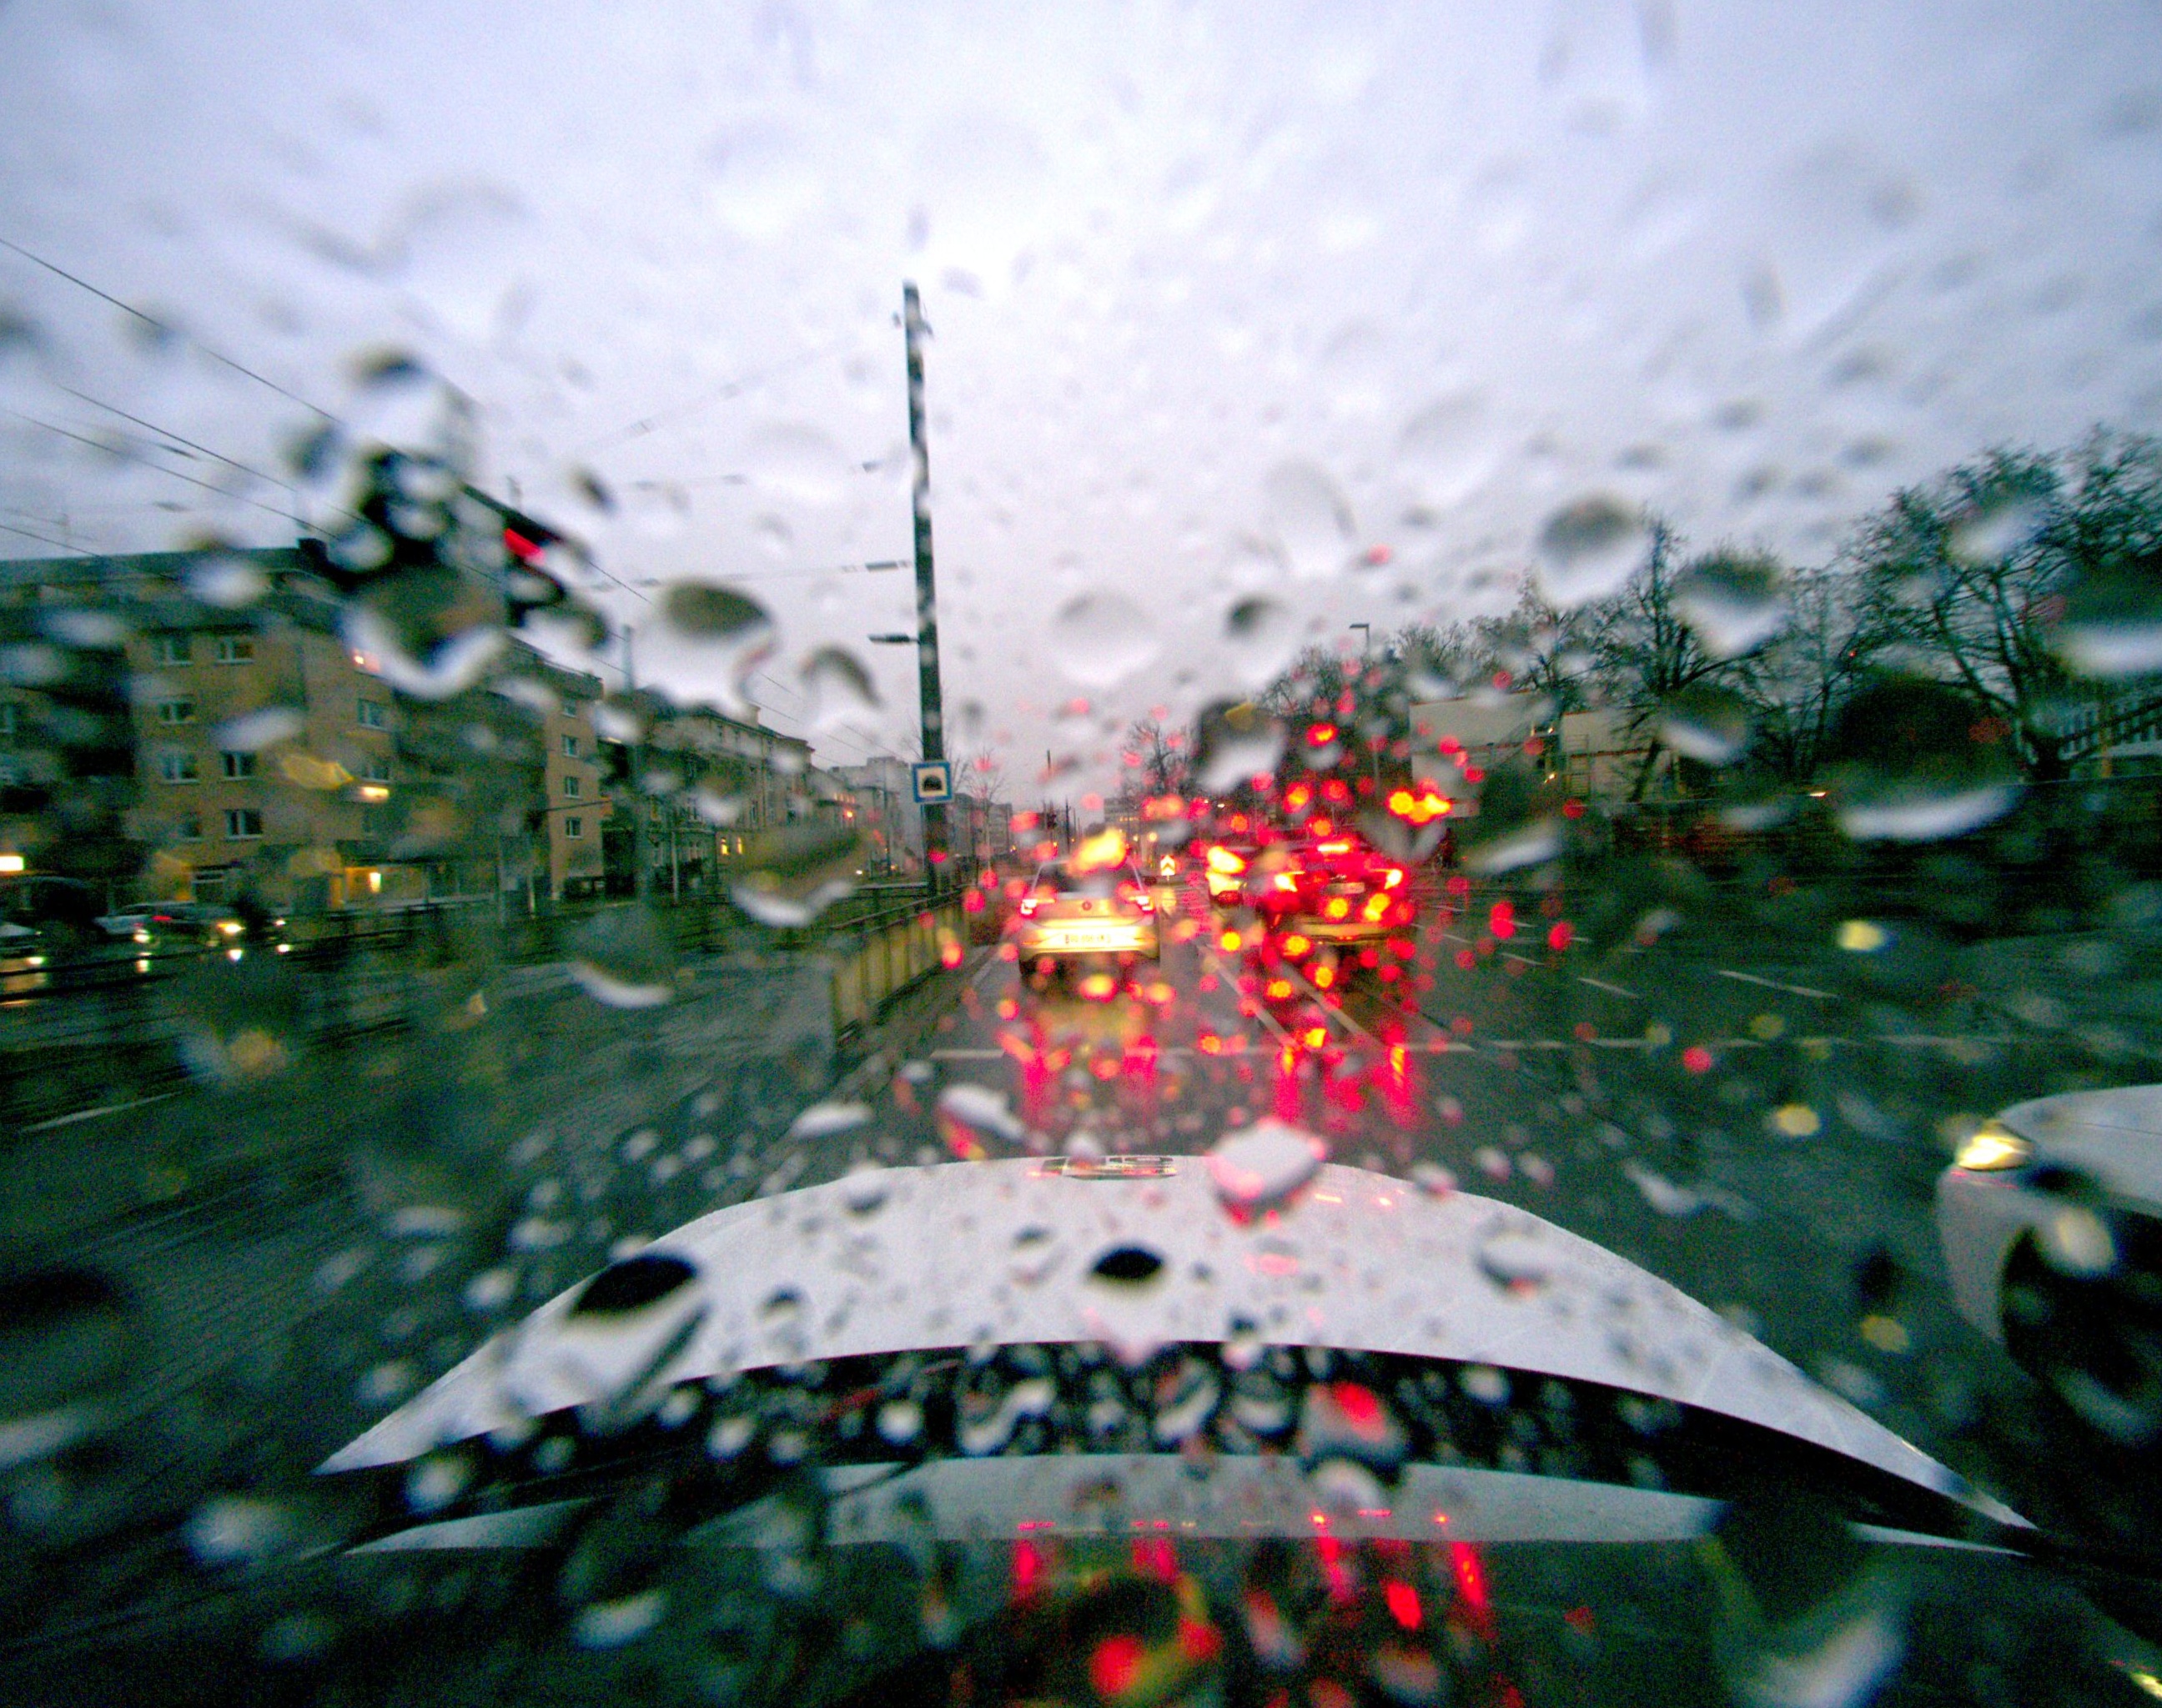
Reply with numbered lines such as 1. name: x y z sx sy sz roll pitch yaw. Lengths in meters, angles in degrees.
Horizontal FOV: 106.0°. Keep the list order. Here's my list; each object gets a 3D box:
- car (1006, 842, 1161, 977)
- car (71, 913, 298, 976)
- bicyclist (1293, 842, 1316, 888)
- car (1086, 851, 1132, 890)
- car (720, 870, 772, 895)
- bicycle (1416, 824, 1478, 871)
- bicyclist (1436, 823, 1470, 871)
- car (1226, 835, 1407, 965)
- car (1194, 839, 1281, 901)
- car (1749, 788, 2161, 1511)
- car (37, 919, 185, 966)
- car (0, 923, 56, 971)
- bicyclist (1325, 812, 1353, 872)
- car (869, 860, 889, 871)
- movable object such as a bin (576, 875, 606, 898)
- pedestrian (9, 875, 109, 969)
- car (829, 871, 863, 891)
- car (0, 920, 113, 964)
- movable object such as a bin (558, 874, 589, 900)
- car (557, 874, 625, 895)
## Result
1. car: 0.114 0.631 11.107 1.715 1.479 4.002 -1 0 2
2. car: -29.759 2.967 27.242 4.697 1.545 1.990 -2 0 -16
3. bicyclist: 7.887 0.388 28.803 0.498 1.591 0.837 -3 0 -1
4. car: 1.162 0.634 33.180 1.715 1.479 4.002 -1 0 2
5. car: -22.800 1.927 55.580 1.795 1.585 4.000 -1 0 1
6. bicycle: 13.365 -0.207 29.837 0.690 1.657 2.232 -1 -1 -19
7. bicyclist: 13.452 -0.258 29.483 0.697 1.679 0.812 -2 0 -19
8. car: 3.072 0.546 11.438 1.714 1.479 4.006 -1 0 5
9. car: 4.106 0.404 21.983 1.715 1.479 4.002 -1 0 2
10. car: 3.064 0.591 0.248 1.780 1.501 4.970 -1 0 2
11. car: -39.697 3.610 33.410 3.814 1.552 1.778 -3 0 0
12. car: -39.362 3.318 28.784 3.976 1.511 1.684 -1 0 -2
13. bicyclist: 7.830 -0.357 24.775 0.498 1.767 0.837 -3 0 -1
14. car: -29.540 1.722 119.133 1.801 1.436 3.925 -4 0 -1
15. movable object such as a bin: -33.283 2.194 55.362 1.105 1.480 1.424 -4 0 -2
16. pedestrian: -17.290 1.129 13.790 0.789 1.489 0.629 -3 0 -6
17. car: -20.439 2.345 71.019 1.795 1.585 4.000 -1 0 1
18. car: -44.389 3.781 34.818 3.814 1.552 1.758 -3 0 0
19. movable object such as a bin: -33.396 2.174 53.602 1.105 1.561 1.424 -4 0 -2
20. car: -36.901 2.278 61.421 3.975 1.407 1.832 -2 -2 -1
